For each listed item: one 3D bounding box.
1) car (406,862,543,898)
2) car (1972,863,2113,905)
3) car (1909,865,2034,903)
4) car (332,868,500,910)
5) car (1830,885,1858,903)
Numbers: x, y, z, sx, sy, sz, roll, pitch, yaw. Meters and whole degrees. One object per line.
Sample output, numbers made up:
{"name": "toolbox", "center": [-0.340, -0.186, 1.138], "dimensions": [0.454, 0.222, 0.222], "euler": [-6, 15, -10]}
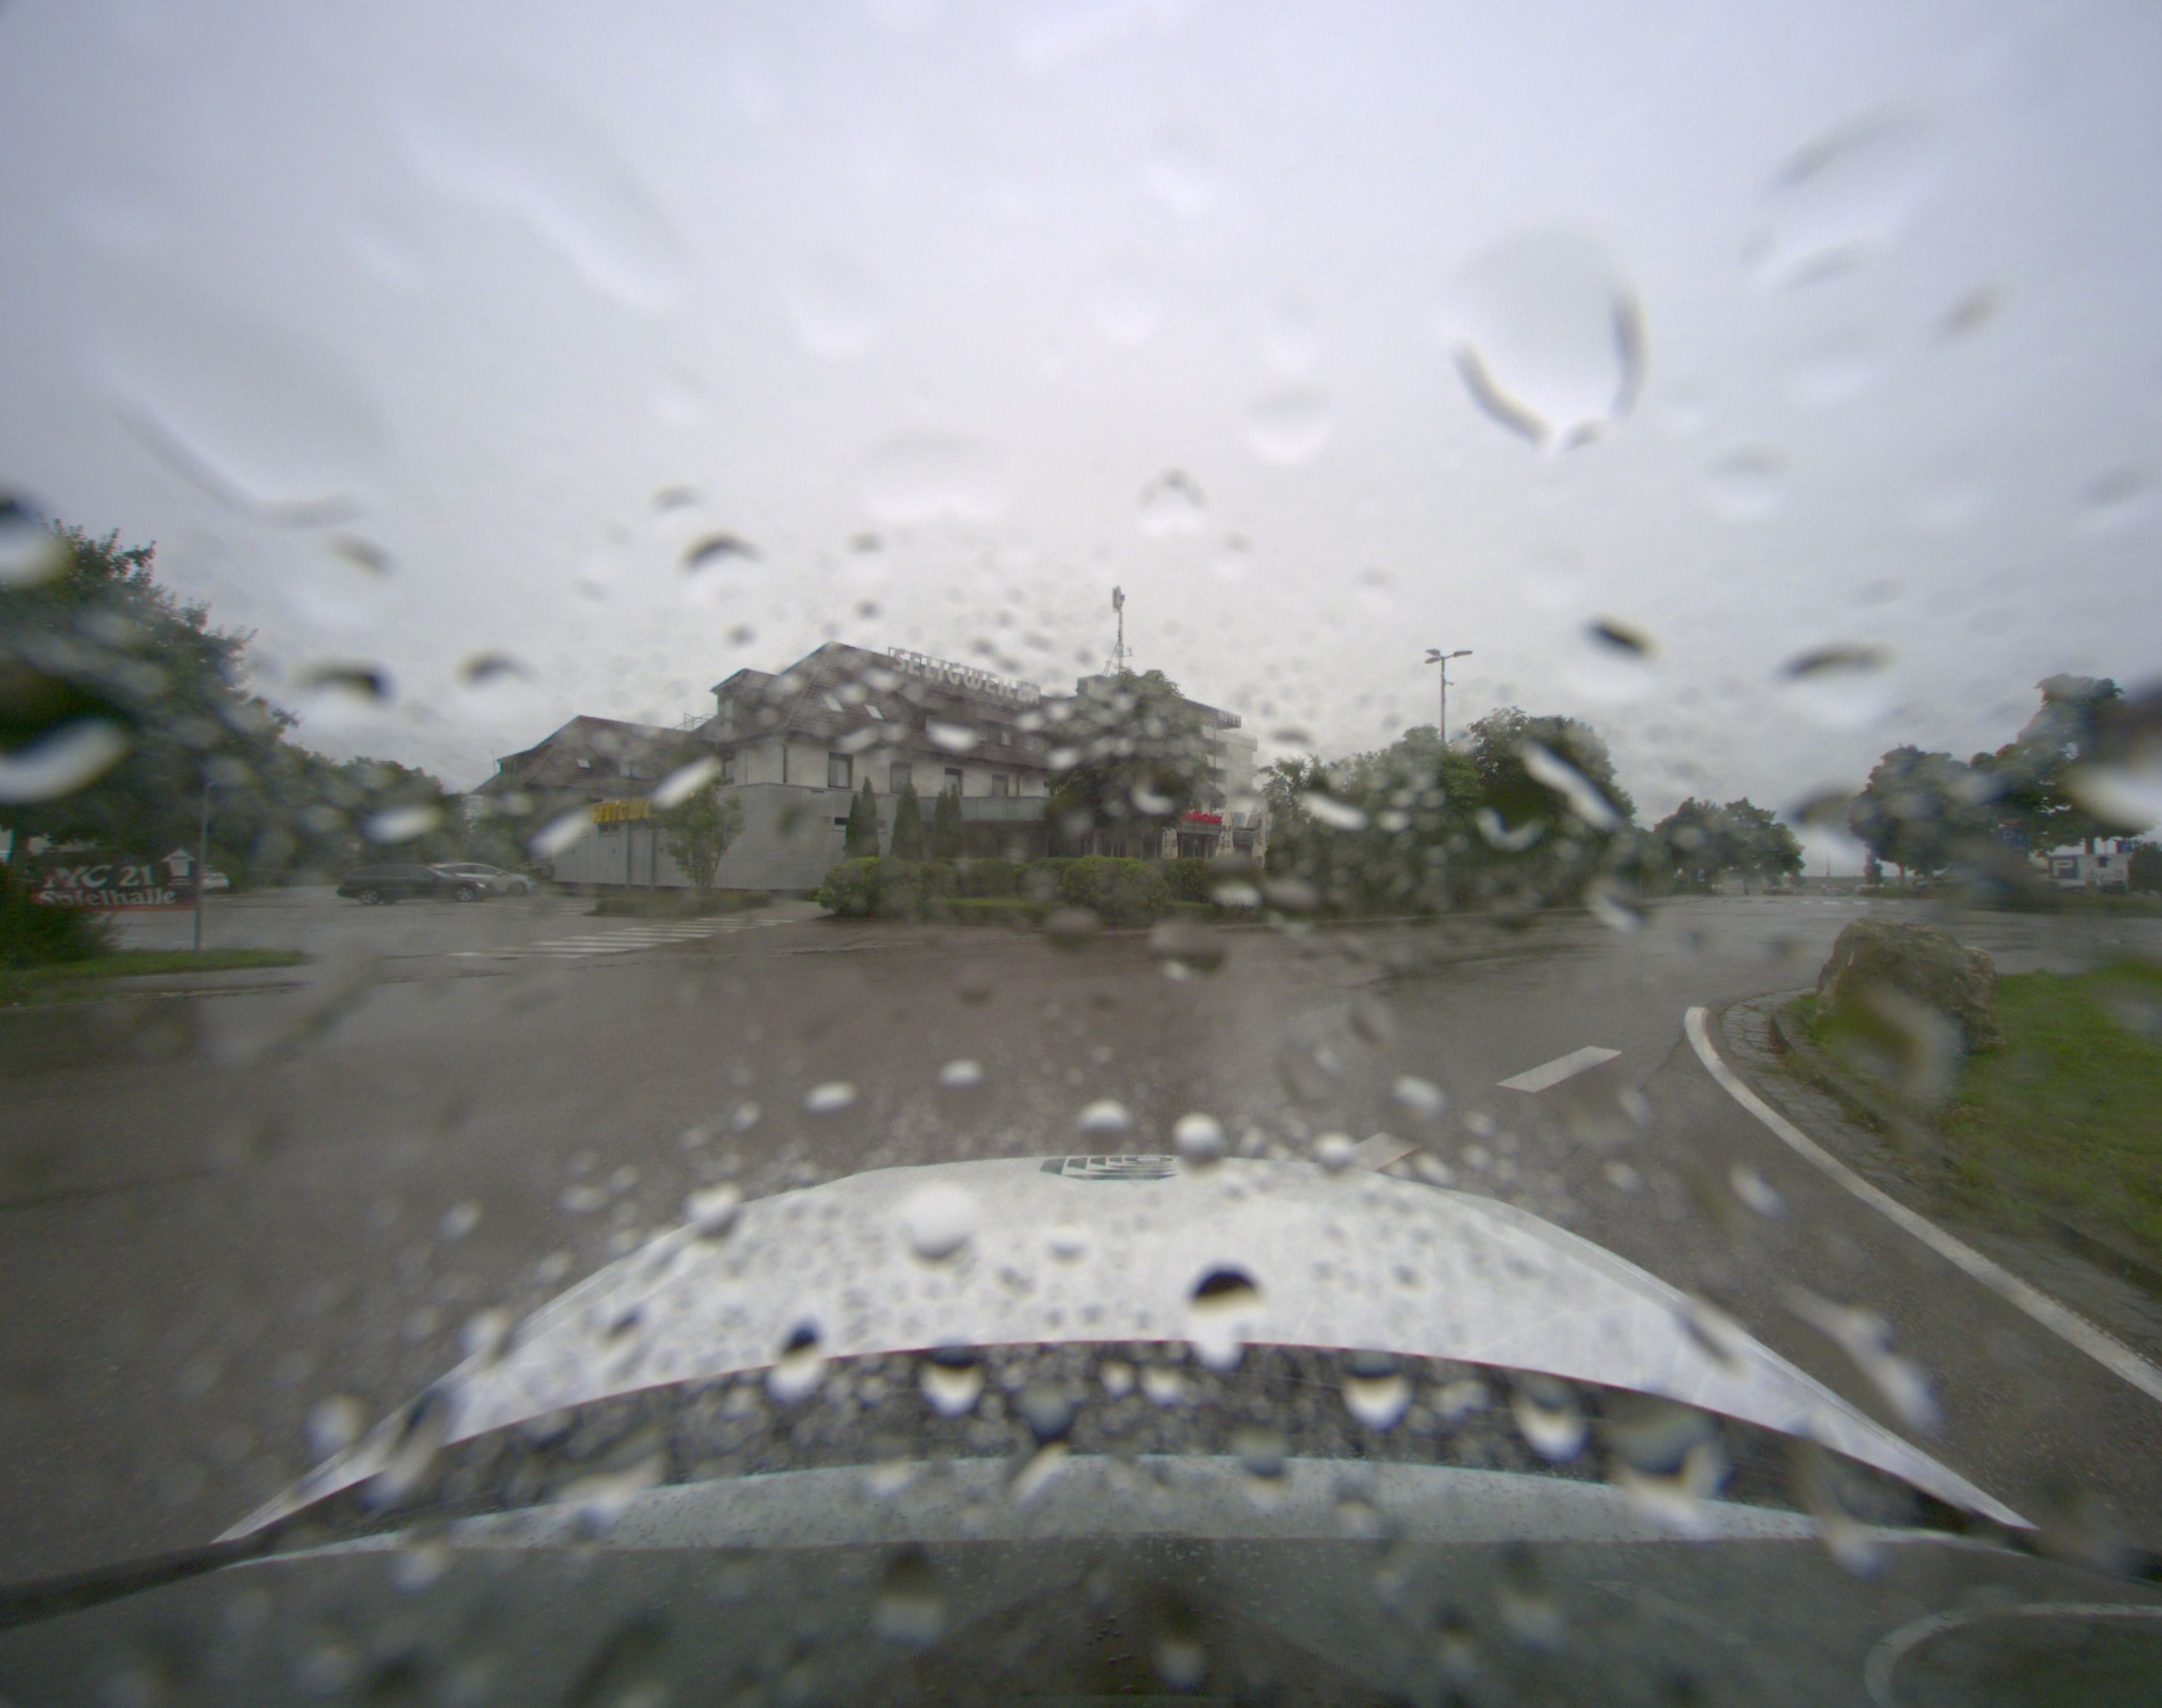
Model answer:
{"name": "car", "center": [-25.906, 1.077, 34.918], "dimensions": [1.826, 1.425, 4.388], "euler": [-1, -1, 39]}
{"name": "car", "center": [46.804, 1.467, 39.800], "dimensions": [1.710, 1.862, 4.365], "euler": [2, -2, -1]}
{"name": "car", "center": [43.777, 1.482, 40.176], "dimensions": [1.710, 1.716, 4.023], "euler": [2, -2, -1]}
{"name": "car", "center": [-24.017, 1.235, 29.599], "dimensions": [4.358, 1.425, 1.696], "euler": [0, 0, -19]}
{"name": "car", "center": [92.129, 4.835, 98.314], "dimensions": [4.016, 2.014, 1.691], "euler": [3, -2, -35]}
